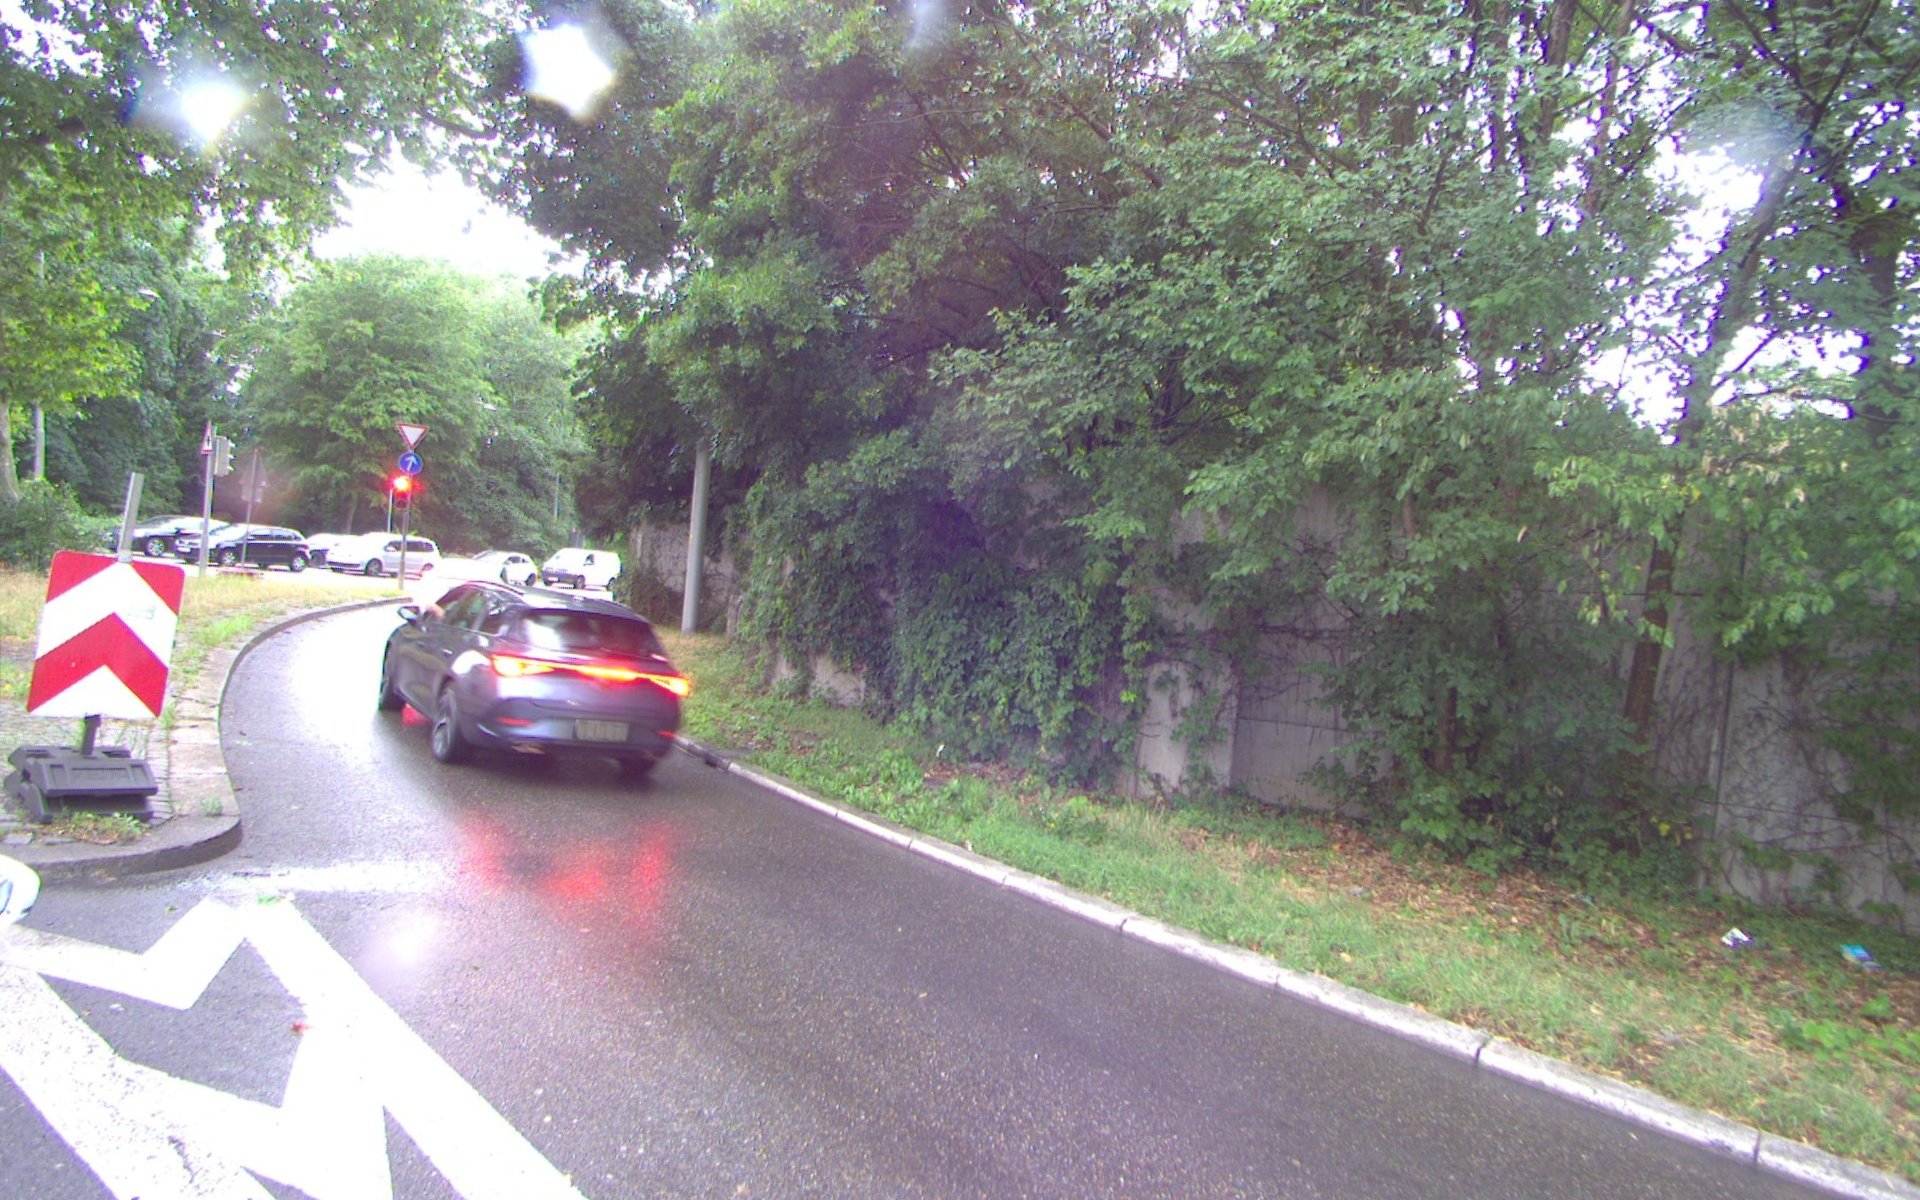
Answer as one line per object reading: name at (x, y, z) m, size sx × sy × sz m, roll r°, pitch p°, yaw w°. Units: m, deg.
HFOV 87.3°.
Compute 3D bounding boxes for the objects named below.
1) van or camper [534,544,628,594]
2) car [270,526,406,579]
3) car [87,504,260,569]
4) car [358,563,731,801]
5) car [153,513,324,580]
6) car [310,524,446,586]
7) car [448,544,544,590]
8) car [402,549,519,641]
van or camper at (-19.080, -1.517, 50.891) m, size 1.870 × 1.970 × 4.869 m, roll 7°, pitch -1°, yaw 14°
car at (-24.790, -1.871, 40.299) m, size 1.795 × 1.418 × 4.452 m, roll 7°, pitch -2°, yaw 16°
car at (-26.661, -2.106, 34.313) m, size 1.913 × 1.457 × 4.218 m, roll 7°, pitch -2°, yaw 16°
car at (-3.935, 0.601, 9.024) m, size 1.743 × 1.418 × 4.365 m, roll 10°, pitch -3°, yaw -39°
car at (-23.315, -1.676, 32.727) m, size 1.759 × 1.477 × 4.205 m, roll 7°, pitch -2°, yaw 16°
car at (-22.074, -1.646, 38.342) m, size 1.871 × 1.699 × 4.216 m, roll 7°, pitch -2°, yaw 16°
car at (-20.540, -1.418, 44.684) m, size 1.627 × 1.478 × 3.869 m, roll 7°, pitch -2°, yaw 16°
car at (-10.629, -0.146, 21.707) m, size 1.837 × 1.464 × 4.593 m, roll 11°, pitch -3°, yaw -24°
